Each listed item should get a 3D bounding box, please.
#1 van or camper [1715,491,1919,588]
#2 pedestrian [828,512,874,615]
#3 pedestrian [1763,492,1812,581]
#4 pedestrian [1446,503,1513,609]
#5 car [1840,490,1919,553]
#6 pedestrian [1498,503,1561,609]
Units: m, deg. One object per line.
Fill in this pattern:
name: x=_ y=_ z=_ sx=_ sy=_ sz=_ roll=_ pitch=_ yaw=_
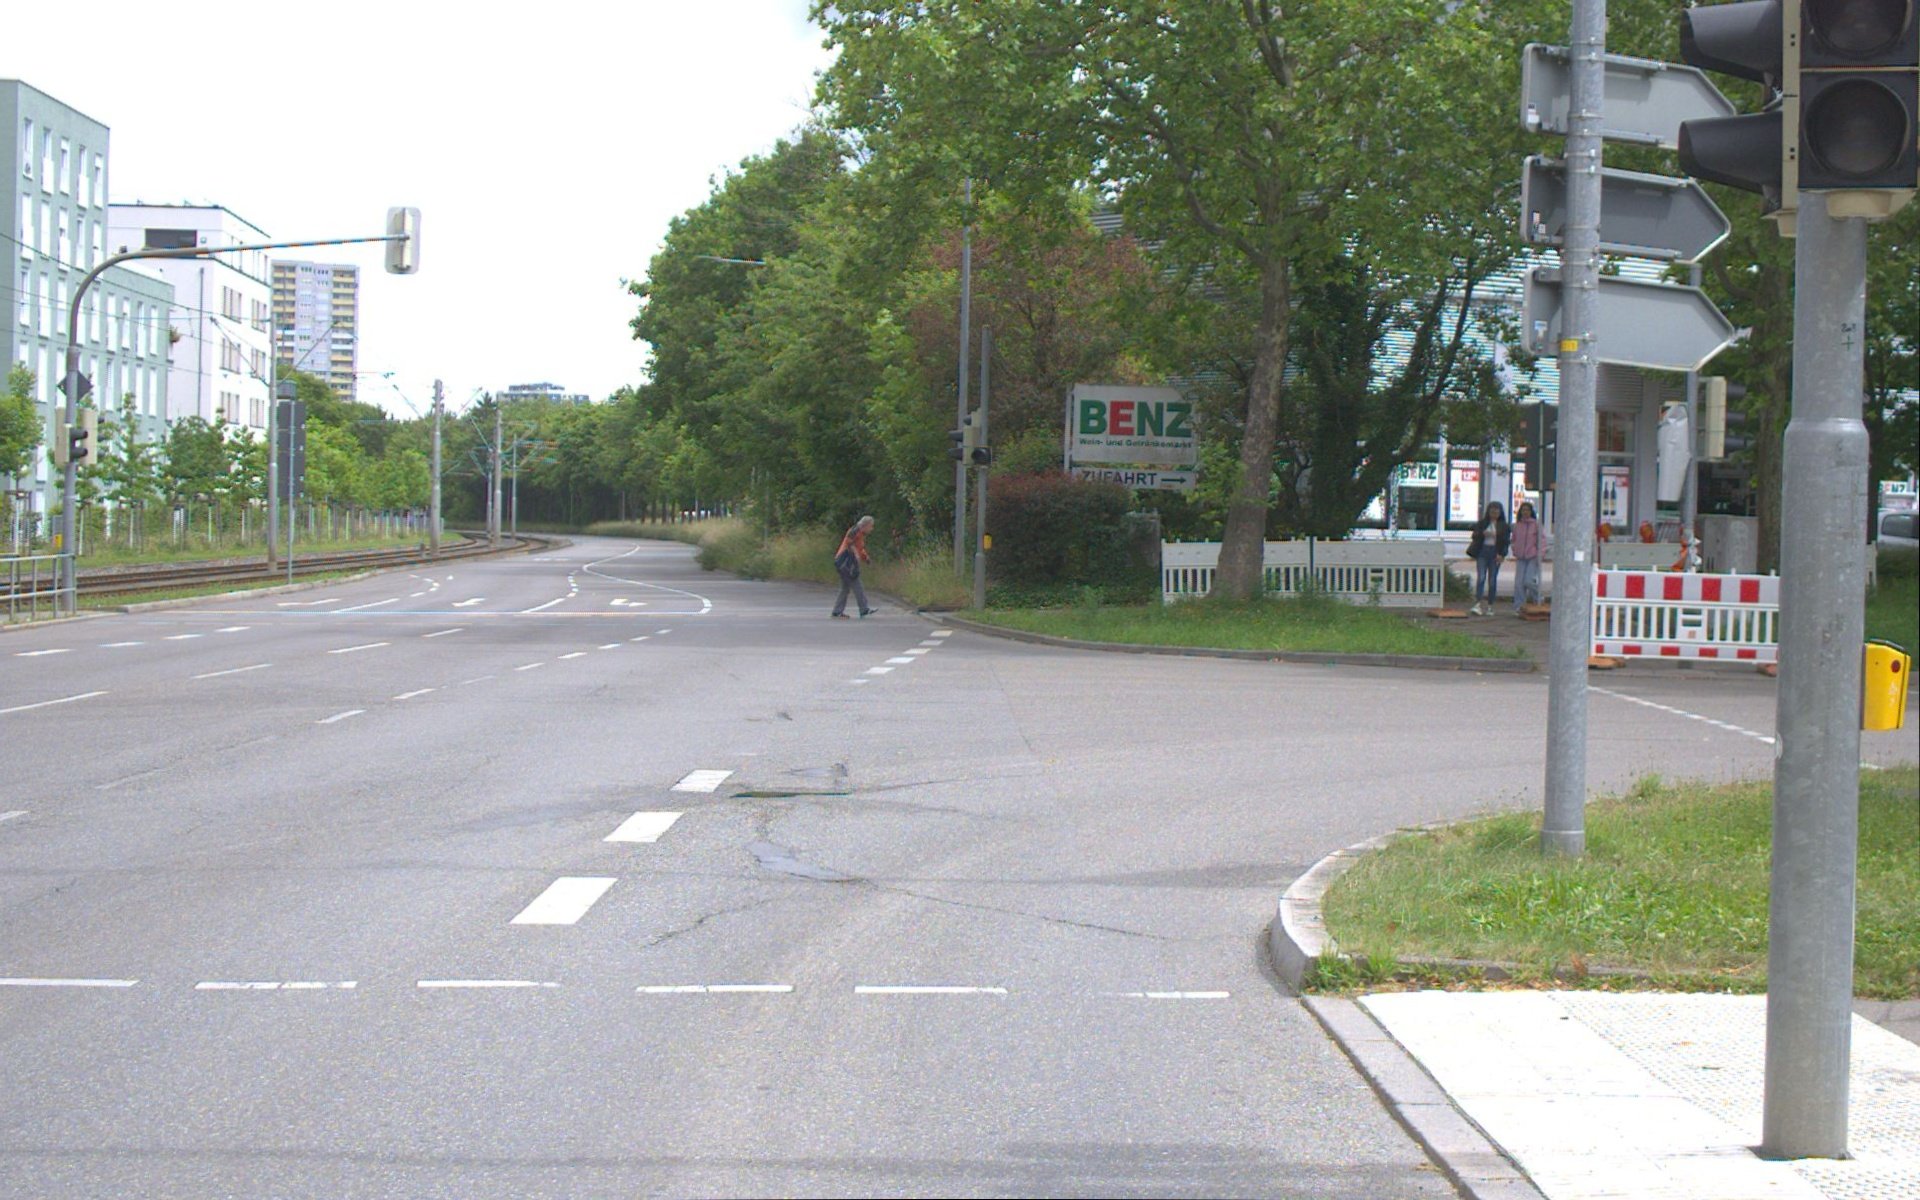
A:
van or camper: x=15.665 y=-1.111 z=61.991 sx=1.840 sy=1.678 sz=4.001 roll=-1 pitch=2 yaw=-28
pedestrian: x=-1.642 y=-0.551 z=52.025 sx=0.653 sy=1.533 sz=0.773 roll=1 pitch=0 yaw=0
pedestrian: x=18.576 y=-1.422 z=77.168 sx=0.804 sy=1.995 sz=0.853 roll=1 pitch=0 yaw=-5
pedestrian: x=7.302 y=-0.618 z=48.321 sx=0.719 sy=1.484 sz=0.698 roll=1 pitch=0 yaw=28
car: x=21.823 y=-1.779 z=78.213 sx=1.480 sy=1.399 sz=3.409 roll=0 pitch=1 yaw=-31
pedestrian: x=8.059 y=-0.620 z=48.629 sx=0.687 sy=1.484 sz=0.698 roll=1 pitch=0 yaw=26
